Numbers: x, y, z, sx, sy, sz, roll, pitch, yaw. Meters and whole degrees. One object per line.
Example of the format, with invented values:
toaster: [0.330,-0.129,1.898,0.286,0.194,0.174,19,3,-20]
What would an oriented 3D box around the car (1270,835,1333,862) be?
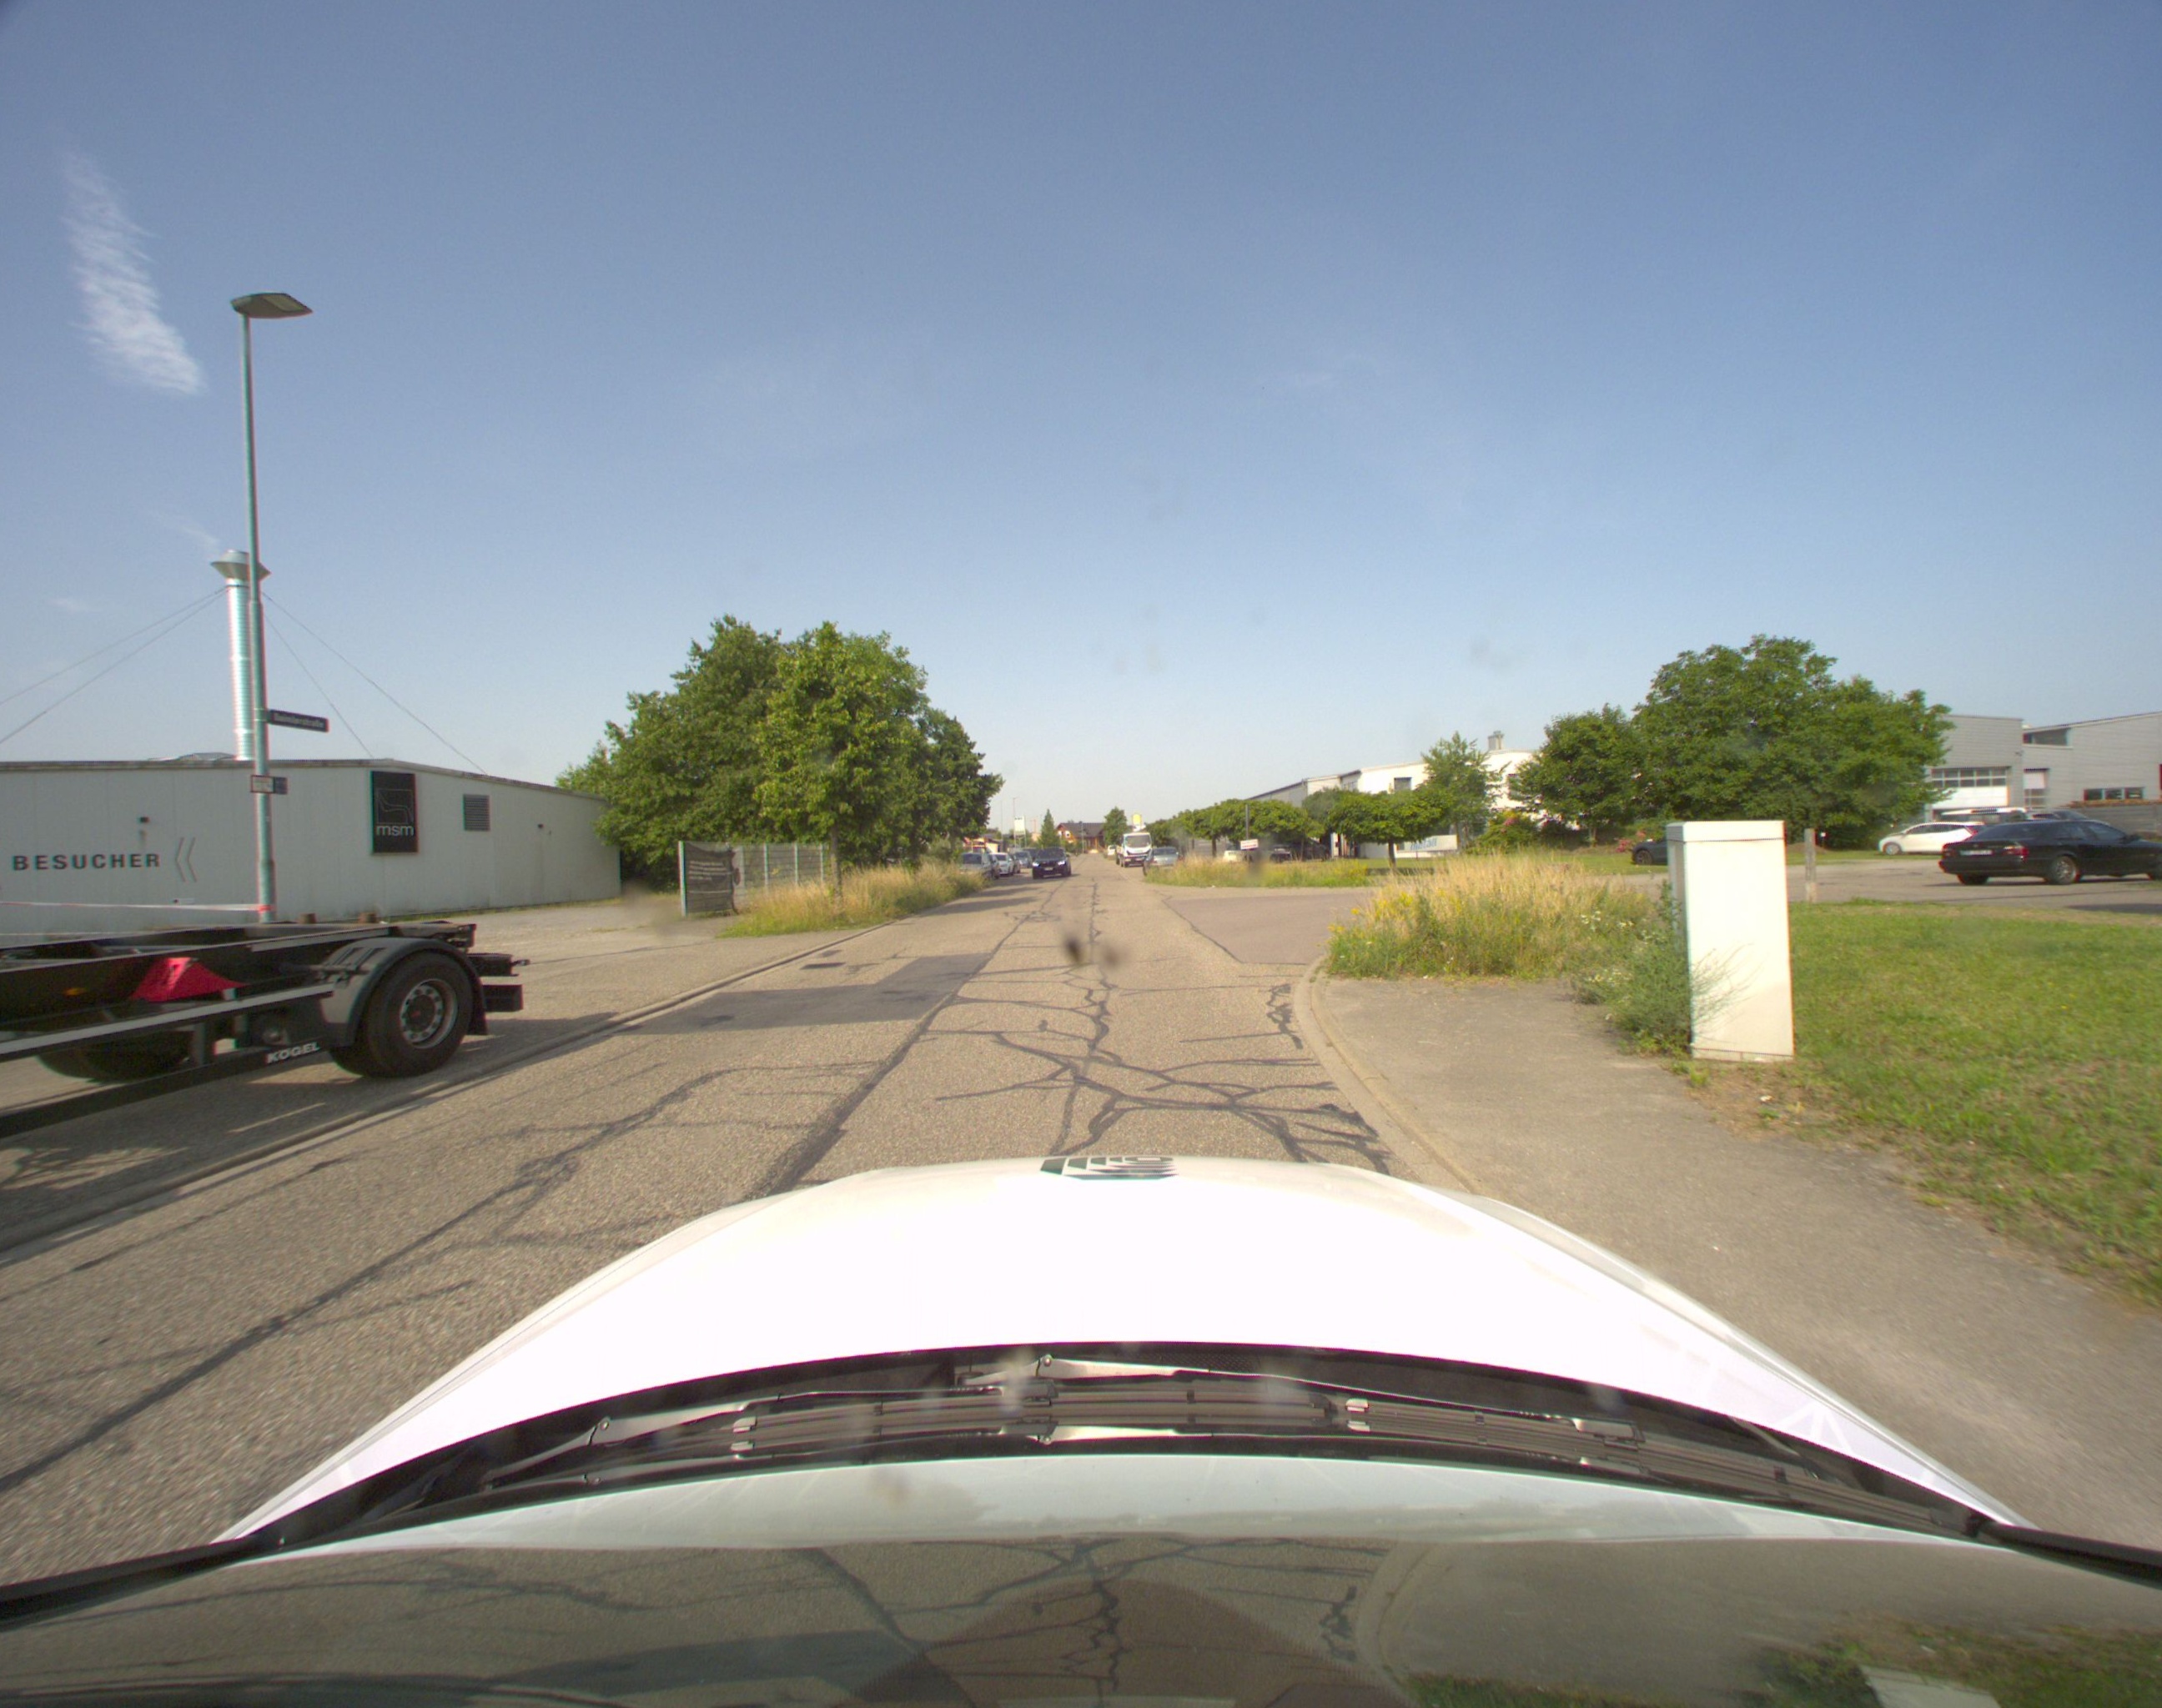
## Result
car: [14.046,-0.375,51.758,4.560,1.589,1.667,-2,0,-44]

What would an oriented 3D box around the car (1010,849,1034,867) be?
car: [-5.219,0.335,72.445,1.626,1.517,3.609,-1,0,3]

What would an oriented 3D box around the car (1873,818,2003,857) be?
car: [36.863,-0.674,35.148,1.562,1.450,3.497,-2,-1,-18]

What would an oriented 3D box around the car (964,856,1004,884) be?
car: [-5.301,0.844,45.037,1.572,1.443,3.966,-1,0,2]

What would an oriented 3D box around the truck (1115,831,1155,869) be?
truck: [4.123,-0.289,63.561,2.353,2.681,6.504,-2,0,-3]

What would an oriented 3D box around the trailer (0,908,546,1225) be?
trailer: [-6.193,1.103,2.688,2.574,1.184,9.363,0,0,1]

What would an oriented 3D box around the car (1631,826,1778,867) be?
car: [24.145,-0.259,31.751,1.785,1.409,4.322,-3,0,-17]

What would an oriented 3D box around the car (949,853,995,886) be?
car: [-5.348,0.751,40.478,1.560,1.538,3.691,-1,0,3]

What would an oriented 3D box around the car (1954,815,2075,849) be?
car: [42.743,-0.977,37.366,1.562,1.409,3.298,-2,0,-18]

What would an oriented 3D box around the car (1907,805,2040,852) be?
car: [40.218,-1.199,36.825,1.684,1.955,3.687,-3,4,-18]

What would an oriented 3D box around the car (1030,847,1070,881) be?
car: [-1.680,0.532,45.572,1.849,1.714,4.228,-4,0,2]

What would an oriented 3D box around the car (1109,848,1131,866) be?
car: [3.464,0.271,73.455,1.788,1.560,4.001,-2,0,1]

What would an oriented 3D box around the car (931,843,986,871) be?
car: [-11.370,0.300,75.621,4.608,2.416,2.002,-2,0,3]

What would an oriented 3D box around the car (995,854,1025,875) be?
car: [-4.977,0.708,57.364,1.627,1.387,4.370,-1,0,1]

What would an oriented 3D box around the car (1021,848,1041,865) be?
car: [-5.317,0.288,86.652,1.794,1.774,4.202,0,0,0]

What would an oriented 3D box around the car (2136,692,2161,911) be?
car: [14.194,-0.664,7.304,1.966,2.705,5.885,-2,0,3]

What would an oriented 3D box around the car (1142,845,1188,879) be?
car: [4.049,0.375,39.933,1.788,1.517,4.424,-2,0,0]

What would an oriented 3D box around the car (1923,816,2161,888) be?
car: [22.221,-0.051,18.709,4.459,1.409,1.805,-2,-1,-10]

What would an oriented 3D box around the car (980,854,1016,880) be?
car: [-5.024,0.759,49.959,1.677,1.469,4.254,-1,0,1]

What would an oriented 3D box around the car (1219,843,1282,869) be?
car: [10.085,0.091,48.421,3.716,1.380,1.668,-3,0,-39]

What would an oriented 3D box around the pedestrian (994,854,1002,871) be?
pedestrian: [-8.471,0.897,83.449,0.566,1.715,0.528,-3,0,-37]

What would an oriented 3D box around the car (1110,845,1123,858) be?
car: [5.416,-0.349,125.802,1.831,1.924,3.757,-3,0,1]
